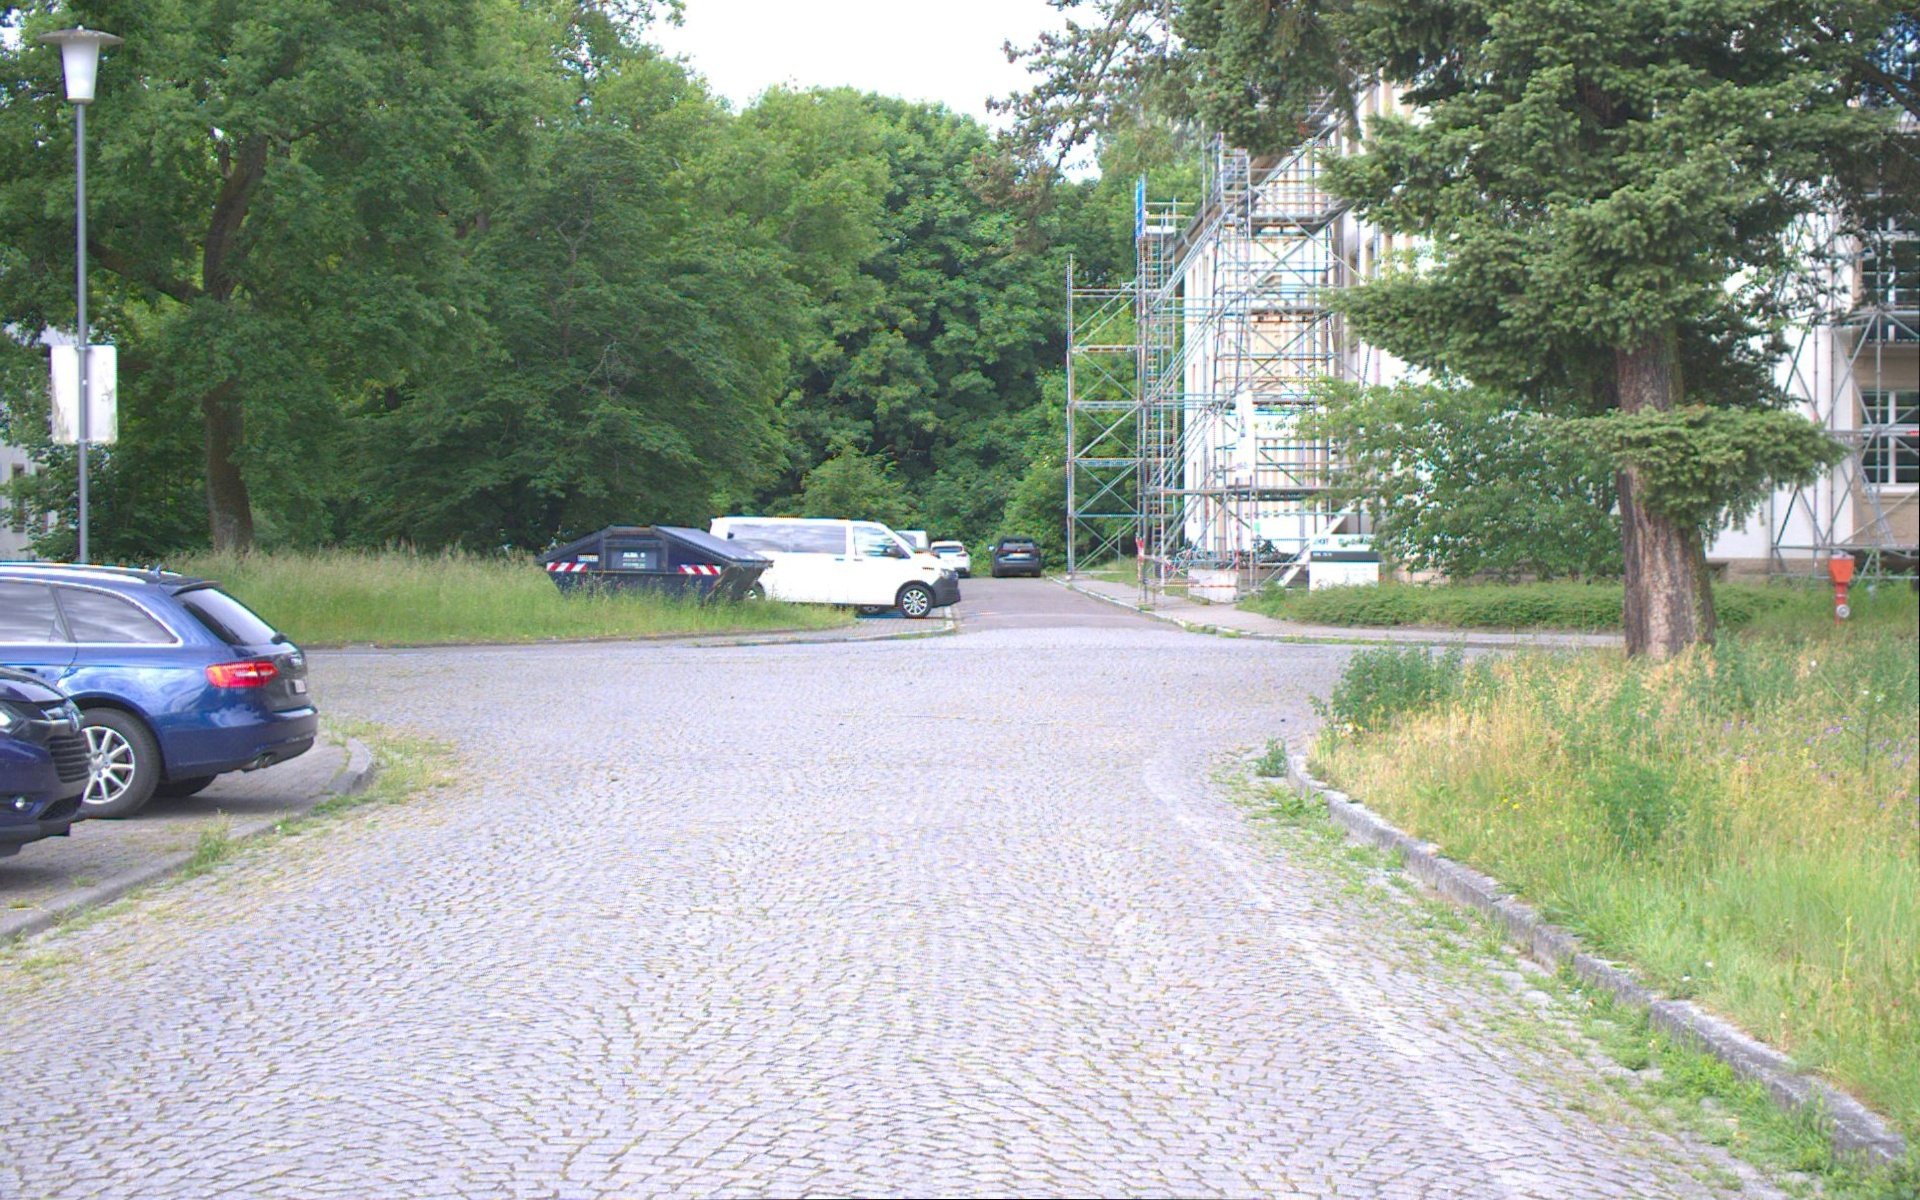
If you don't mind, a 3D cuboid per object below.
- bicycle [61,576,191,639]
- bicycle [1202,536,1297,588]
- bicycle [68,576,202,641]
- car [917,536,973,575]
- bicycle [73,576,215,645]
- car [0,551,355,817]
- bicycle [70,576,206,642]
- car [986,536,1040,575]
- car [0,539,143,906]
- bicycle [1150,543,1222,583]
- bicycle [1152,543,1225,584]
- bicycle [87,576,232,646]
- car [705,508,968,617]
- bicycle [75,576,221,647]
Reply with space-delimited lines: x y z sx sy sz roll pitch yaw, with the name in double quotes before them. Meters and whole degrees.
"bicycle" -13.381 0.113 55.179 1.957 0.986 0.627 -1 1 -23
"bicycle" 6.924 -0.912 82.369 2.240 1.250 0.777 0 1 2
"bicycle" -12.830 0.125 53.482 1.957 0.986 0.627 -1 1 -23
"car" -0.604 -1.757 135.410 2.118 1.516 4.000 0 1 -1
"bicycle" -12.031 0.147 50.671 1.957 0.986 0.627 -1 1 -23
"car" -5.971 0.444 20.609 4.303 1.456 1.975 1 1 1
"bicycle" -12.647 0.129 52.900 1.957 0.986 0.627 -1 1 -23
"car" 2.072 -1.778 135.703 1.951 1.516 4.000 0 1 -2
"car" -6.092 0.485 15.817 4.228 1.571 1.887 1 1 -1
"bicycle" 7.053 -1.146 107.336 2.240 1.250 0.698 0 1 2
"bicycle" 7.040 -1.132 105.938 2.240 1.250 0.627 0 1 2
"bicycle" -11.568 0.152 49.699 1.957 0.986 0.627 -1 1 -23
"car" -2.500 -0.768 69.418 5.234 2.160 2.000 0 1 -2
"bicycle" -11.589 0.158 49.074 1.957 0.986 0.627 -1 1 -20
